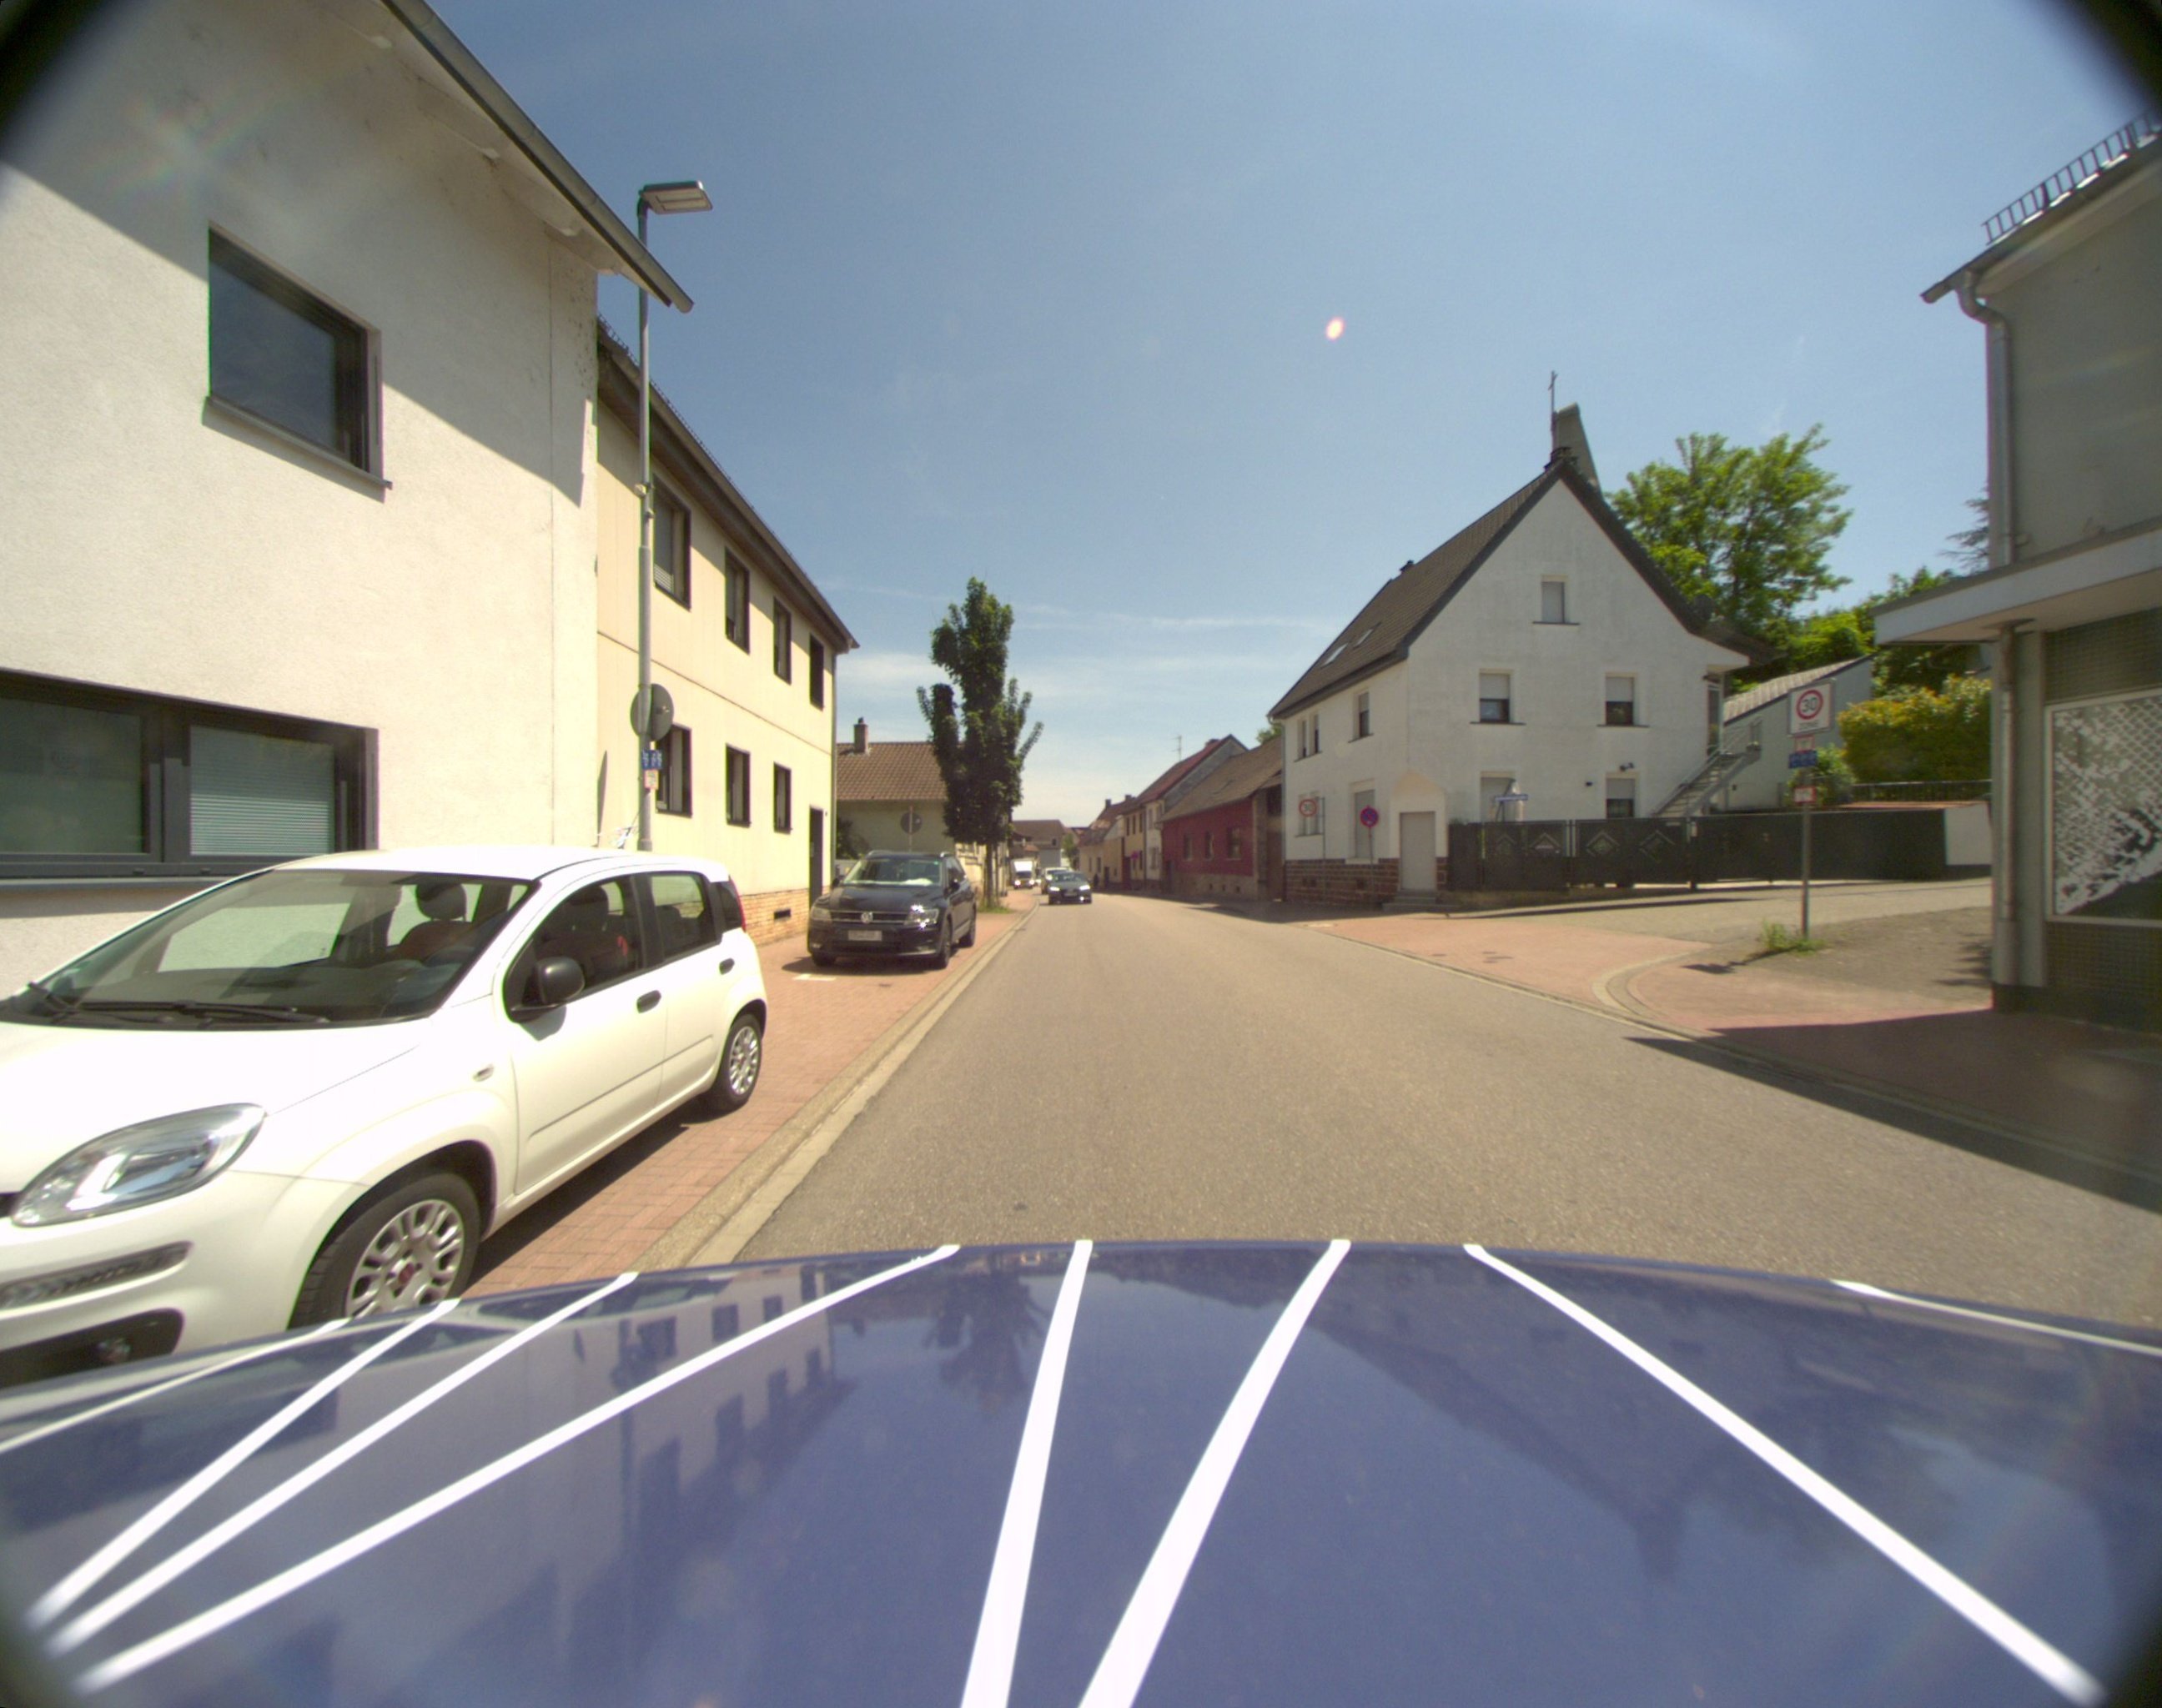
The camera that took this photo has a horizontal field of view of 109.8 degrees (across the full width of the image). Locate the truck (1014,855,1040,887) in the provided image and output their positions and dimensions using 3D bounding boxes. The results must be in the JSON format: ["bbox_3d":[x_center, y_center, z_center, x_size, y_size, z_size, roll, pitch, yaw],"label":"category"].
[{"bbox_3d":[-6.377,1.892,88.647,2.868,3.491,8.316,0,0,-5],"label":"truck"}]

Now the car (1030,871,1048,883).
[{"bbox_3d":[-6.441,3.515,116.218,1.998,1.608,4.002,-3,-1,6],"label":"car"}]

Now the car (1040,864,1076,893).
[{"bbox_3d":[-1.763,1.745,56.090,2.080,1.949,5.515,-1,0,-8],"label":"car"}]

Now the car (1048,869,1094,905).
[{"bbox_3d":[-0.419,1.369,32.311,1.786,1.364,3.606,-1,0,-1],"label":"car"}]

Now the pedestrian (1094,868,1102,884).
[{"bbox_3d":[1.615,2.122,72.860,0.664,1.555,0.754,-2,0,-7],"label":"pedestrian"}]

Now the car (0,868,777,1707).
[{"bbox_3d":[-2.775,0.870,3.094,1.611,1.513,3.544,2,0,0],"label":"car"}]

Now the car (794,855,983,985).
[{"bbox_3d":[-2.702,0.859,11.798,1.807,1.604,4.548,1,-1,-1],"label":"car"}]
